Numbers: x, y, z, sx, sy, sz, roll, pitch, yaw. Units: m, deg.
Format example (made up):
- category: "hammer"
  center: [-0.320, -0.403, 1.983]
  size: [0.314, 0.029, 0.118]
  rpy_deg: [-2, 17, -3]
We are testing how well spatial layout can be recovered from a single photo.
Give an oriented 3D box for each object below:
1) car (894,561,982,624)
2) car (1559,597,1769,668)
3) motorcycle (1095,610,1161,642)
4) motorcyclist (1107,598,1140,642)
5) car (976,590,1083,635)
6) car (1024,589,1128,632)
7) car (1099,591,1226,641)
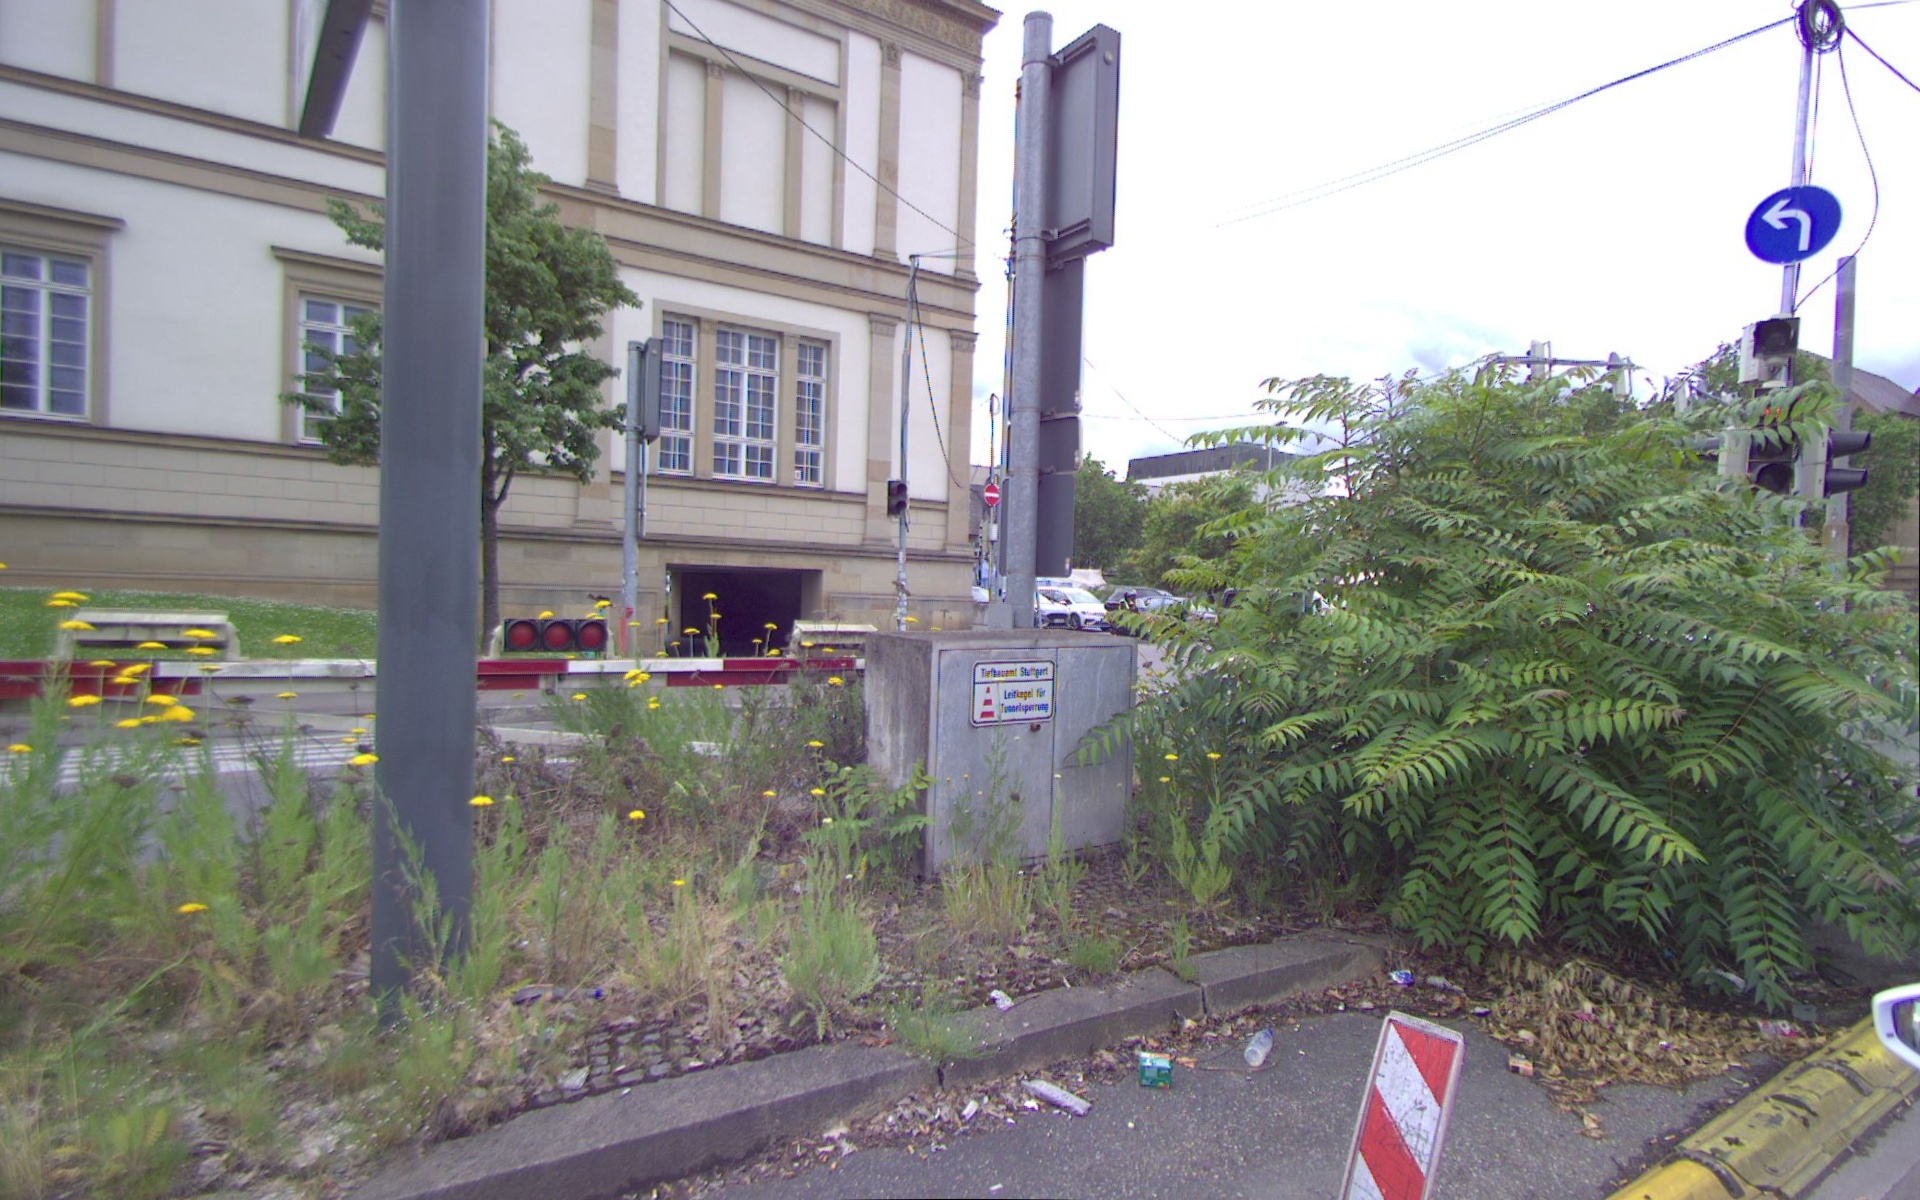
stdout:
- category: "car"
  center: [-1.009, -0.321, 43.755]
  size: [1.978, 2.585, 4.083]
  rpy_deg: [2, 0, -32]
- category: "car"
  center: [19.829, 0.859, 28.479]
  size: [1.981, 1.783, 4.459]
  rpy_deg: [2, 0, -36]
- category: "motorcycle"
  center: [5.359, 0.829, 32.243]
  size: [0.690, 0.953, 2.335]
  rpy_deg: [2, 0, -32]
- category: "motorcyclist"
  center: [5.273, 0.648, 32.368]
  size: [0.690, 1.398, 0.784]
  rpy_deg: [2, 0, -33]
- category: "car"
  center: [2.542, 0.442, 37.613]
  size: [1.978, 1.568, 4.083]
  rpy_deg: [2, 0, -32]
- category: "car"
  center: [4.598, 0.396, 40.339]
  size: [1.978, 1.568, 4.083]
  rpy_deg: [2, 0, -32]
- category: "car"
  center: [6.821, 0.522, 34.278]
  size: [1.978, 1.568, 4.084]
  rpy_deg: [2, 0, -32]
